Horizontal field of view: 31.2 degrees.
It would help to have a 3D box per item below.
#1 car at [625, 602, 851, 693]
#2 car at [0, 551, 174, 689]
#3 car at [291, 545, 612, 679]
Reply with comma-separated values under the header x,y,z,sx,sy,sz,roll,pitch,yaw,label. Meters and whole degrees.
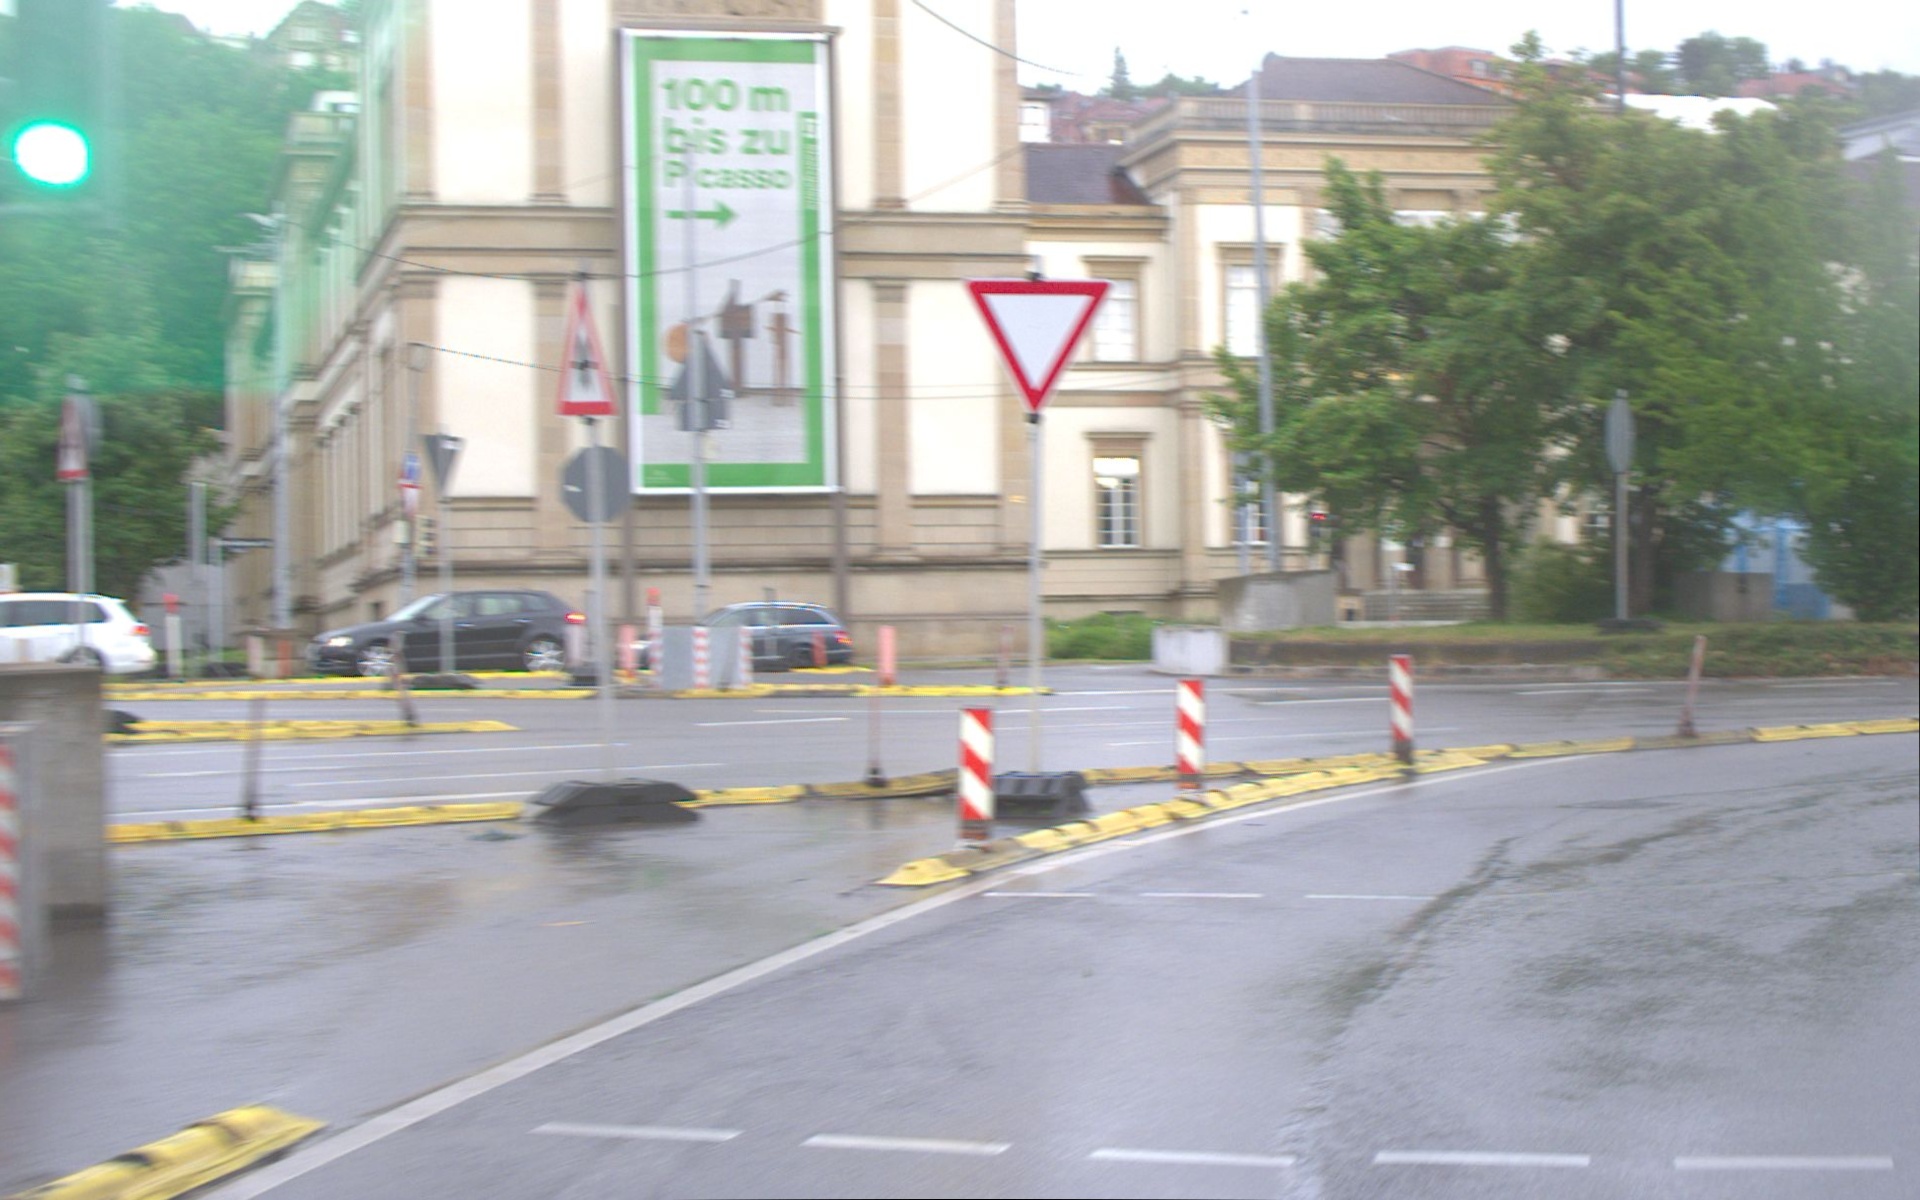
x,y,z,sx,sy,sz,roll,pitch,yaw,label
-4.388,0.922,67.626,4.179,1.695,1.823,1,1,-12,car
-14.236,0.278,51.549,4.625,2.007,2.001,1,1,-17,car
-7.943,0.177,53.573,4.673,2.007,2.001,1,1,-17,car
